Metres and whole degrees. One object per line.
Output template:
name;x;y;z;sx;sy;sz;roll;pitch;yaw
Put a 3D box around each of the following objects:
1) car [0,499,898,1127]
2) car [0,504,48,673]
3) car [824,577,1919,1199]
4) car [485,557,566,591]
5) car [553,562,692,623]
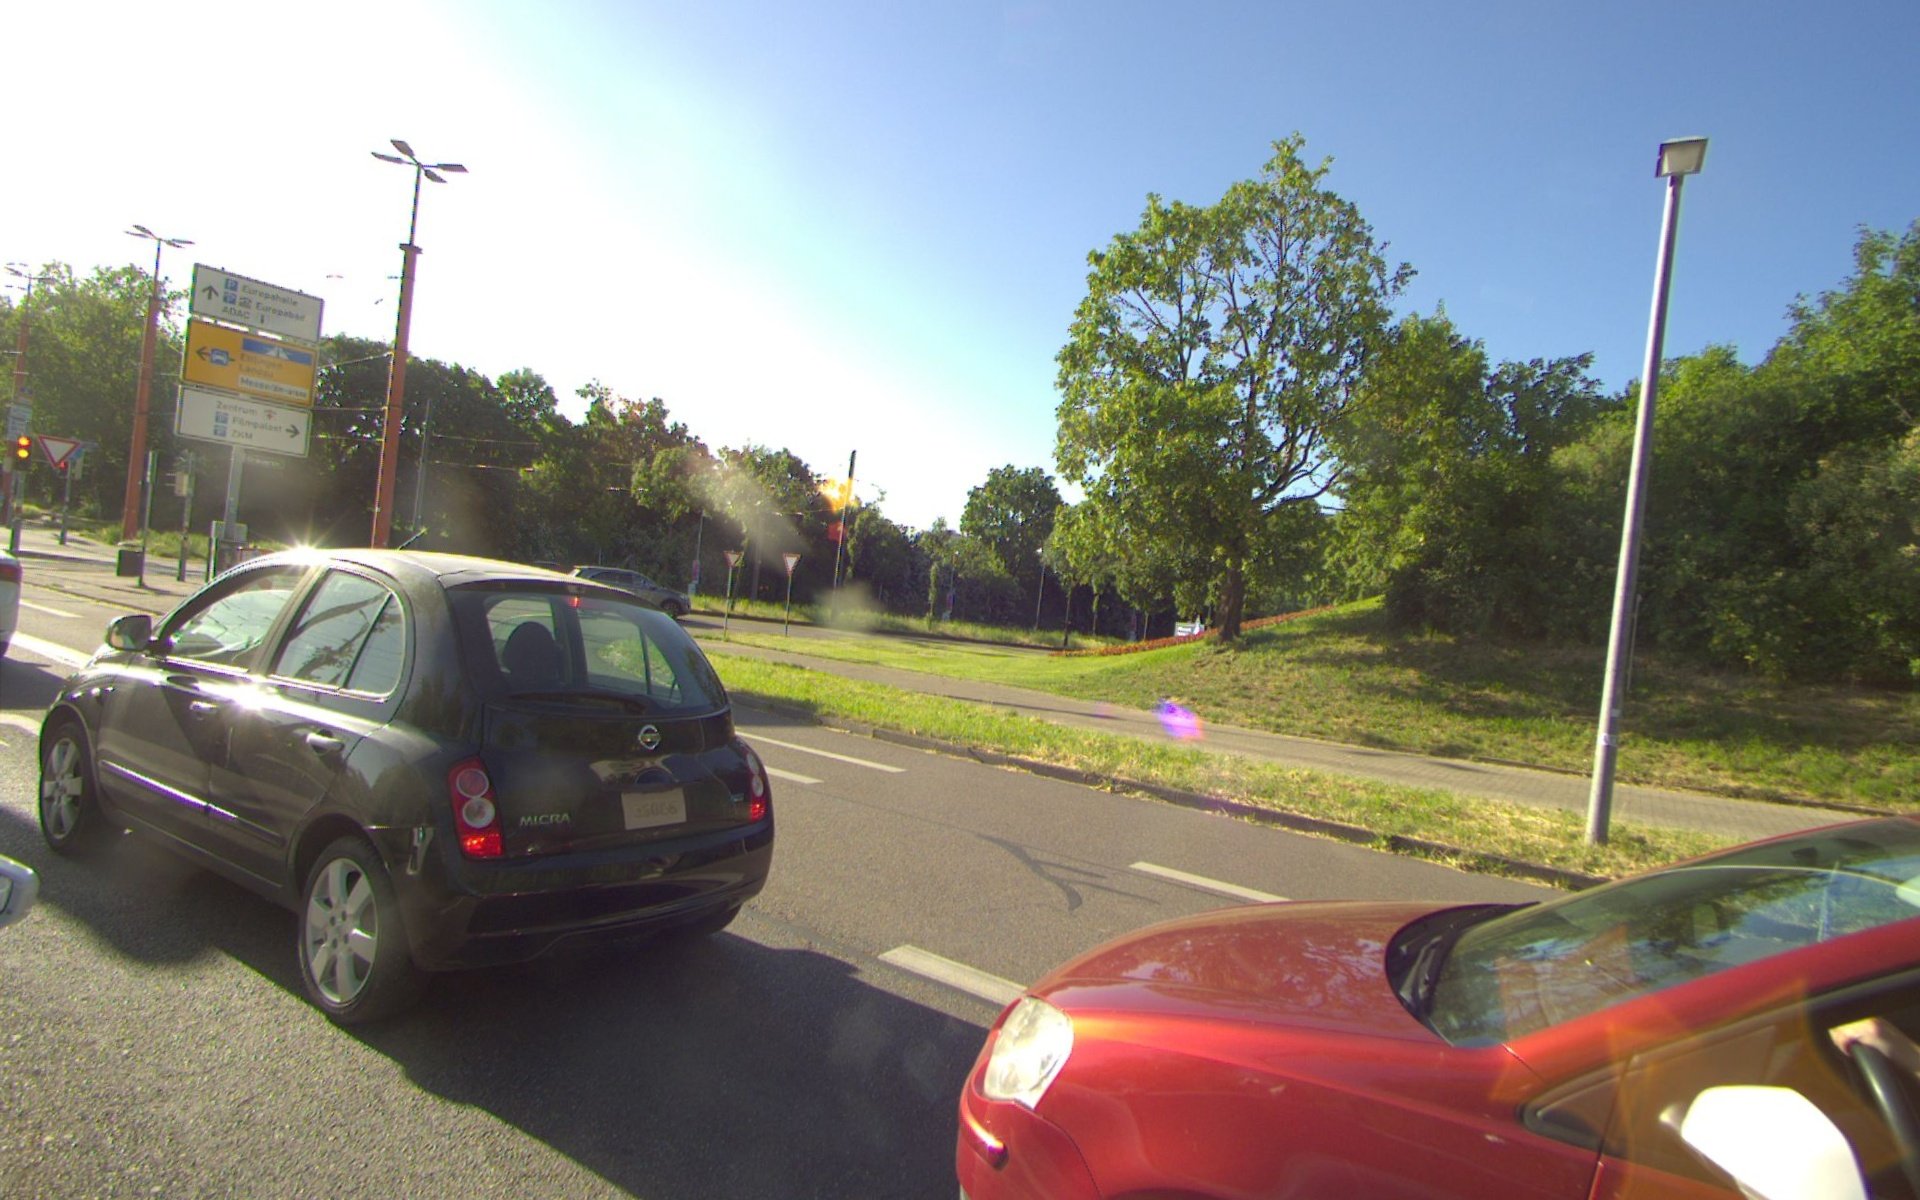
car;-2.705;0.516;4.647;4.546;1.500;1.737;7;0;32
car;-10.583;-0.353;9.547;4.295;1.481;1.769;7;-1;33
car;2.172;1.037;1.420;4.651;1.577;1.769;7;0;34
car;-26.562;-1.595;61.535;4.244;1.513;1.984;7;0;-31
car;-12.931;-0.274;38.562;4.642;1.724;1.985;7;-1;-30
